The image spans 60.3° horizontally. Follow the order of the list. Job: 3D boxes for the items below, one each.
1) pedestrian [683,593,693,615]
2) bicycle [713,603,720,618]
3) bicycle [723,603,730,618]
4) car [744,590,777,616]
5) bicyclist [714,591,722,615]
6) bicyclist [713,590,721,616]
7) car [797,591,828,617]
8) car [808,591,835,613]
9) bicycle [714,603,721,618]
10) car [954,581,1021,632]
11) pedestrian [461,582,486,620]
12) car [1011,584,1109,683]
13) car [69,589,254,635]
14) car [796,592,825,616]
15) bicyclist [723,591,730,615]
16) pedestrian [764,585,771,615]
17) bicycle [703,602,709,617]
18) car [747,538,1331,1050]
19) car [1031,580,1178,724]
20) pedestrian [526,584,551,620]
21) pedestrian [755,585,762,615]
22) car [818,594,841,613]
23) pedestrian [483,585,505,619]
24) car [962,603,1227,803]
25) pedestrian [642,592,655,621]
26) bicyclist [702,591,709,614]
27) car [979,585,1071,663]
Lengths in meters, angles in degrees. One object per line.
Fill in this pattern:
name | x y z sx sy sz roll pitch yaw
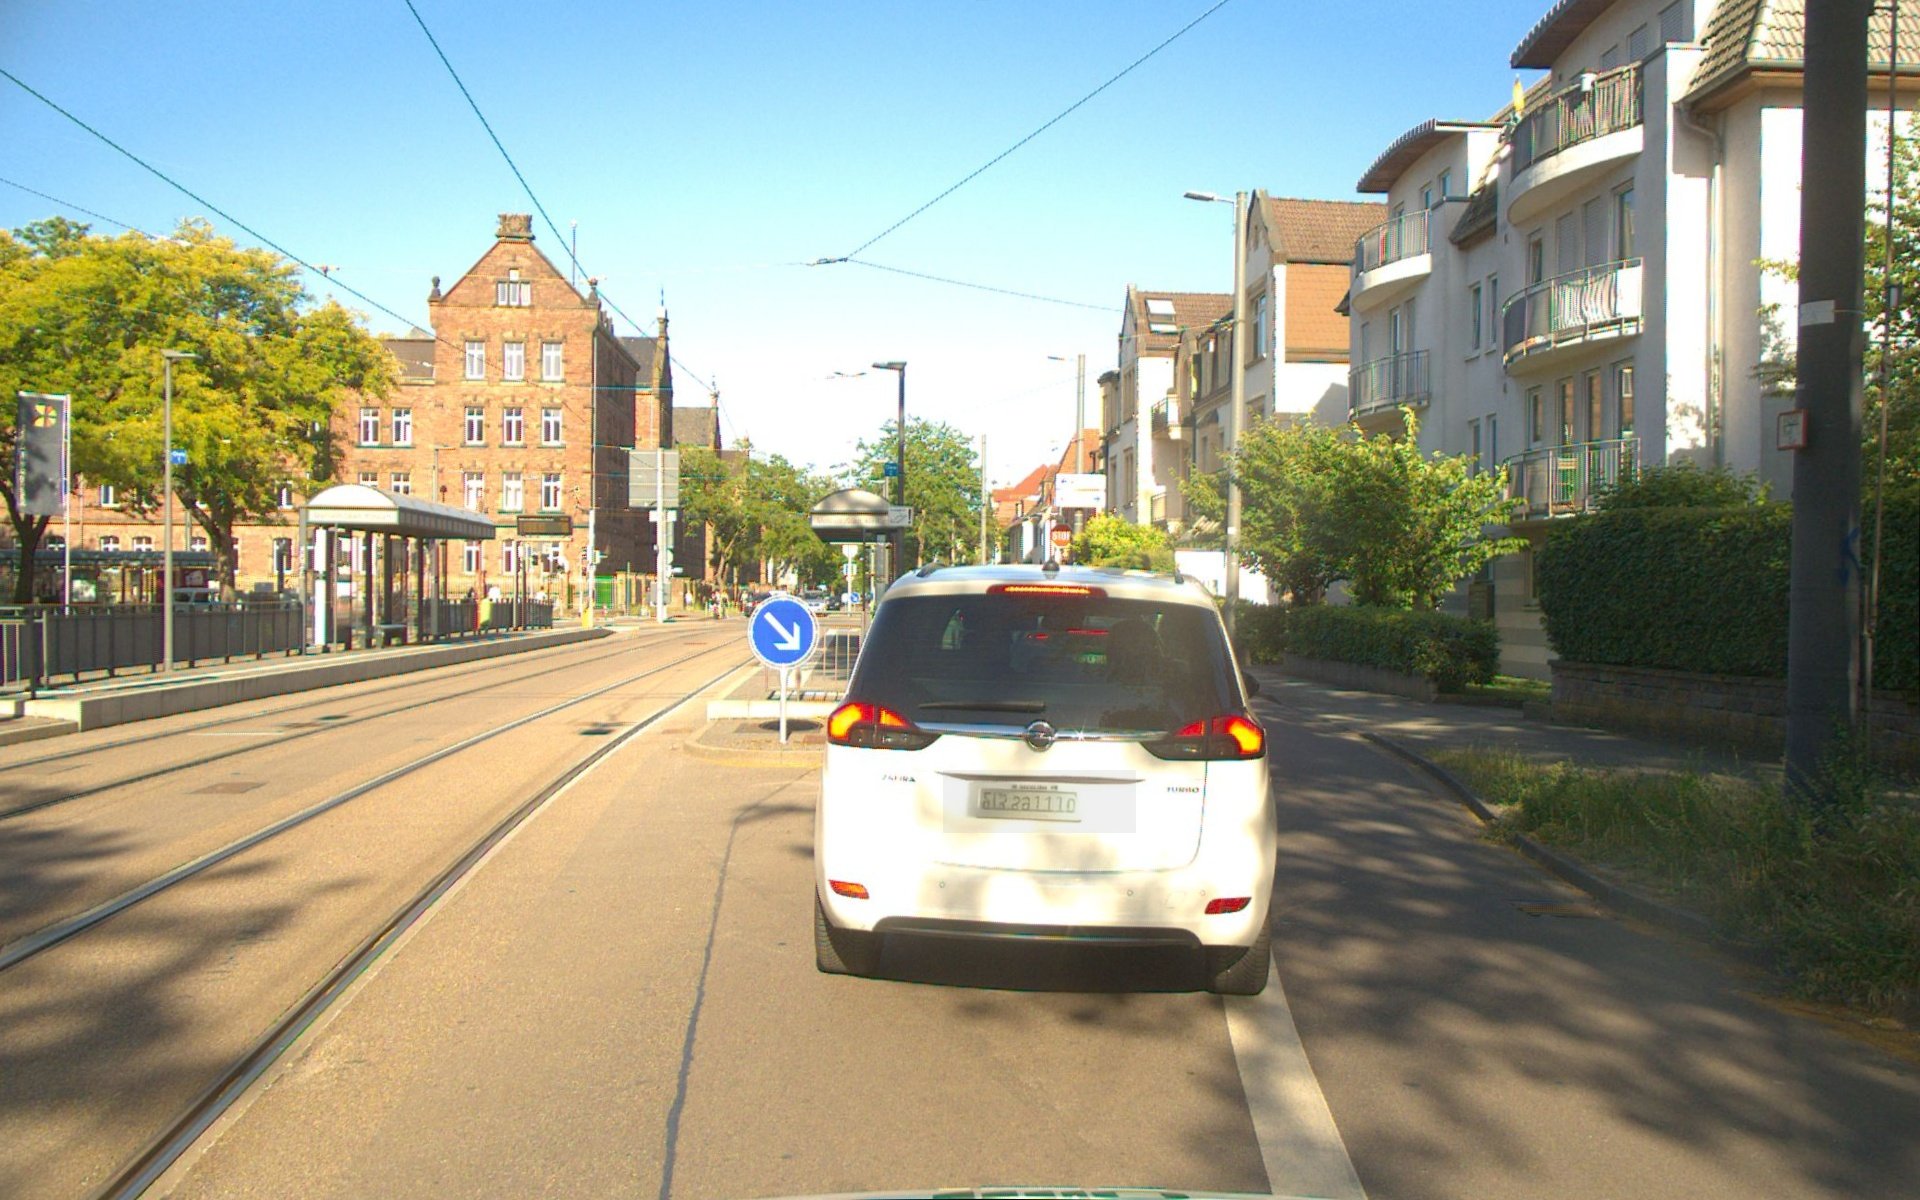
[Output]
pedestrian | -21.158 0.318 128.648 0.720 1.744 0.753 1 -1 -6
bicycle | -15.160 0.651 102.846 0.337 0.966 1.159 1 0 -4
bicycle | -15.391 0.673 108.924 0.337 0.966 0.996 1 0 -4
car | -12.854 0.195 106.893 1.955 1.657 3.996 0 0 -5
bicyclist | -15.572 0.184 106.330 0.435 1.580 0.495 0 0 -4
bicyclist | -15.151 0.176 103.054 0.435 1.580 0.742 0 0 -4
car | -9.544 0.245 107.165 1.955 1.657 3.996 0 0 -5
car | -10.941 0.141 130.596 1.953 1.657 3.998 0 0 -3
bicycle | -15.609 0.658 106.372 0.337 0.966 0.996 1 0 -4
car | 0.827 0.193 51.773 1.953 1.529 3.999 0 0 -1
pedestrian | -22.574 0.055 76.815 0.825 1.721 1.029 1 0 -1
car | 1.709 0.552 29.276 1.603 1.629 3.855 0 0 1
car | -35.726 0.528 74.199 6.810 1.954 2.991 0 0 -2
car | -10.348 0.261 114.259 1.955 1.657 3.996 0 0 -5
bicyclist | -15.380 0.198 108.917 0.435 1.580 0.495 0 0 -4
pedestrian | -13.056 0.017 112.055 0.435 2.049 0.495 0 0 -4
bicycle | -17.652 0.659 114.865 0.337 0.966 0.996 1 0 -4
car | 0.450 0.650 7.602 1.951 1.673 3.996 1 0 6
car | 1.736 0.587 20.848 1.603 1.629 3.855 0 0 1
pedestrian | -19.986 0.099 78.464 0.877 1.713 1.029 1 0 -1
pedestrian | -13.644 0.005 111.753 0.435 2.049 0.495 0 0 -4
car | -11.651 0.308 147.629 1.955 1.657 3.984 0 0 -5
pedestrian | -22.432 0.102 79.672 0.786 1.616 0.934 1 0 -3
car | 1.025 0.750 13.989 1.912 1.422 4.001 0 0 1
pedestrian | -18.964 0.380 100.665 0.720 1.744 0.705 1 -1 -6
bicyclist | -17.646 0.183 114.829 0.435 1.580 0.495 0 0 -4
car | 1.376 0.494 36.196 1.793 1.607 4.009 0 0 -1
